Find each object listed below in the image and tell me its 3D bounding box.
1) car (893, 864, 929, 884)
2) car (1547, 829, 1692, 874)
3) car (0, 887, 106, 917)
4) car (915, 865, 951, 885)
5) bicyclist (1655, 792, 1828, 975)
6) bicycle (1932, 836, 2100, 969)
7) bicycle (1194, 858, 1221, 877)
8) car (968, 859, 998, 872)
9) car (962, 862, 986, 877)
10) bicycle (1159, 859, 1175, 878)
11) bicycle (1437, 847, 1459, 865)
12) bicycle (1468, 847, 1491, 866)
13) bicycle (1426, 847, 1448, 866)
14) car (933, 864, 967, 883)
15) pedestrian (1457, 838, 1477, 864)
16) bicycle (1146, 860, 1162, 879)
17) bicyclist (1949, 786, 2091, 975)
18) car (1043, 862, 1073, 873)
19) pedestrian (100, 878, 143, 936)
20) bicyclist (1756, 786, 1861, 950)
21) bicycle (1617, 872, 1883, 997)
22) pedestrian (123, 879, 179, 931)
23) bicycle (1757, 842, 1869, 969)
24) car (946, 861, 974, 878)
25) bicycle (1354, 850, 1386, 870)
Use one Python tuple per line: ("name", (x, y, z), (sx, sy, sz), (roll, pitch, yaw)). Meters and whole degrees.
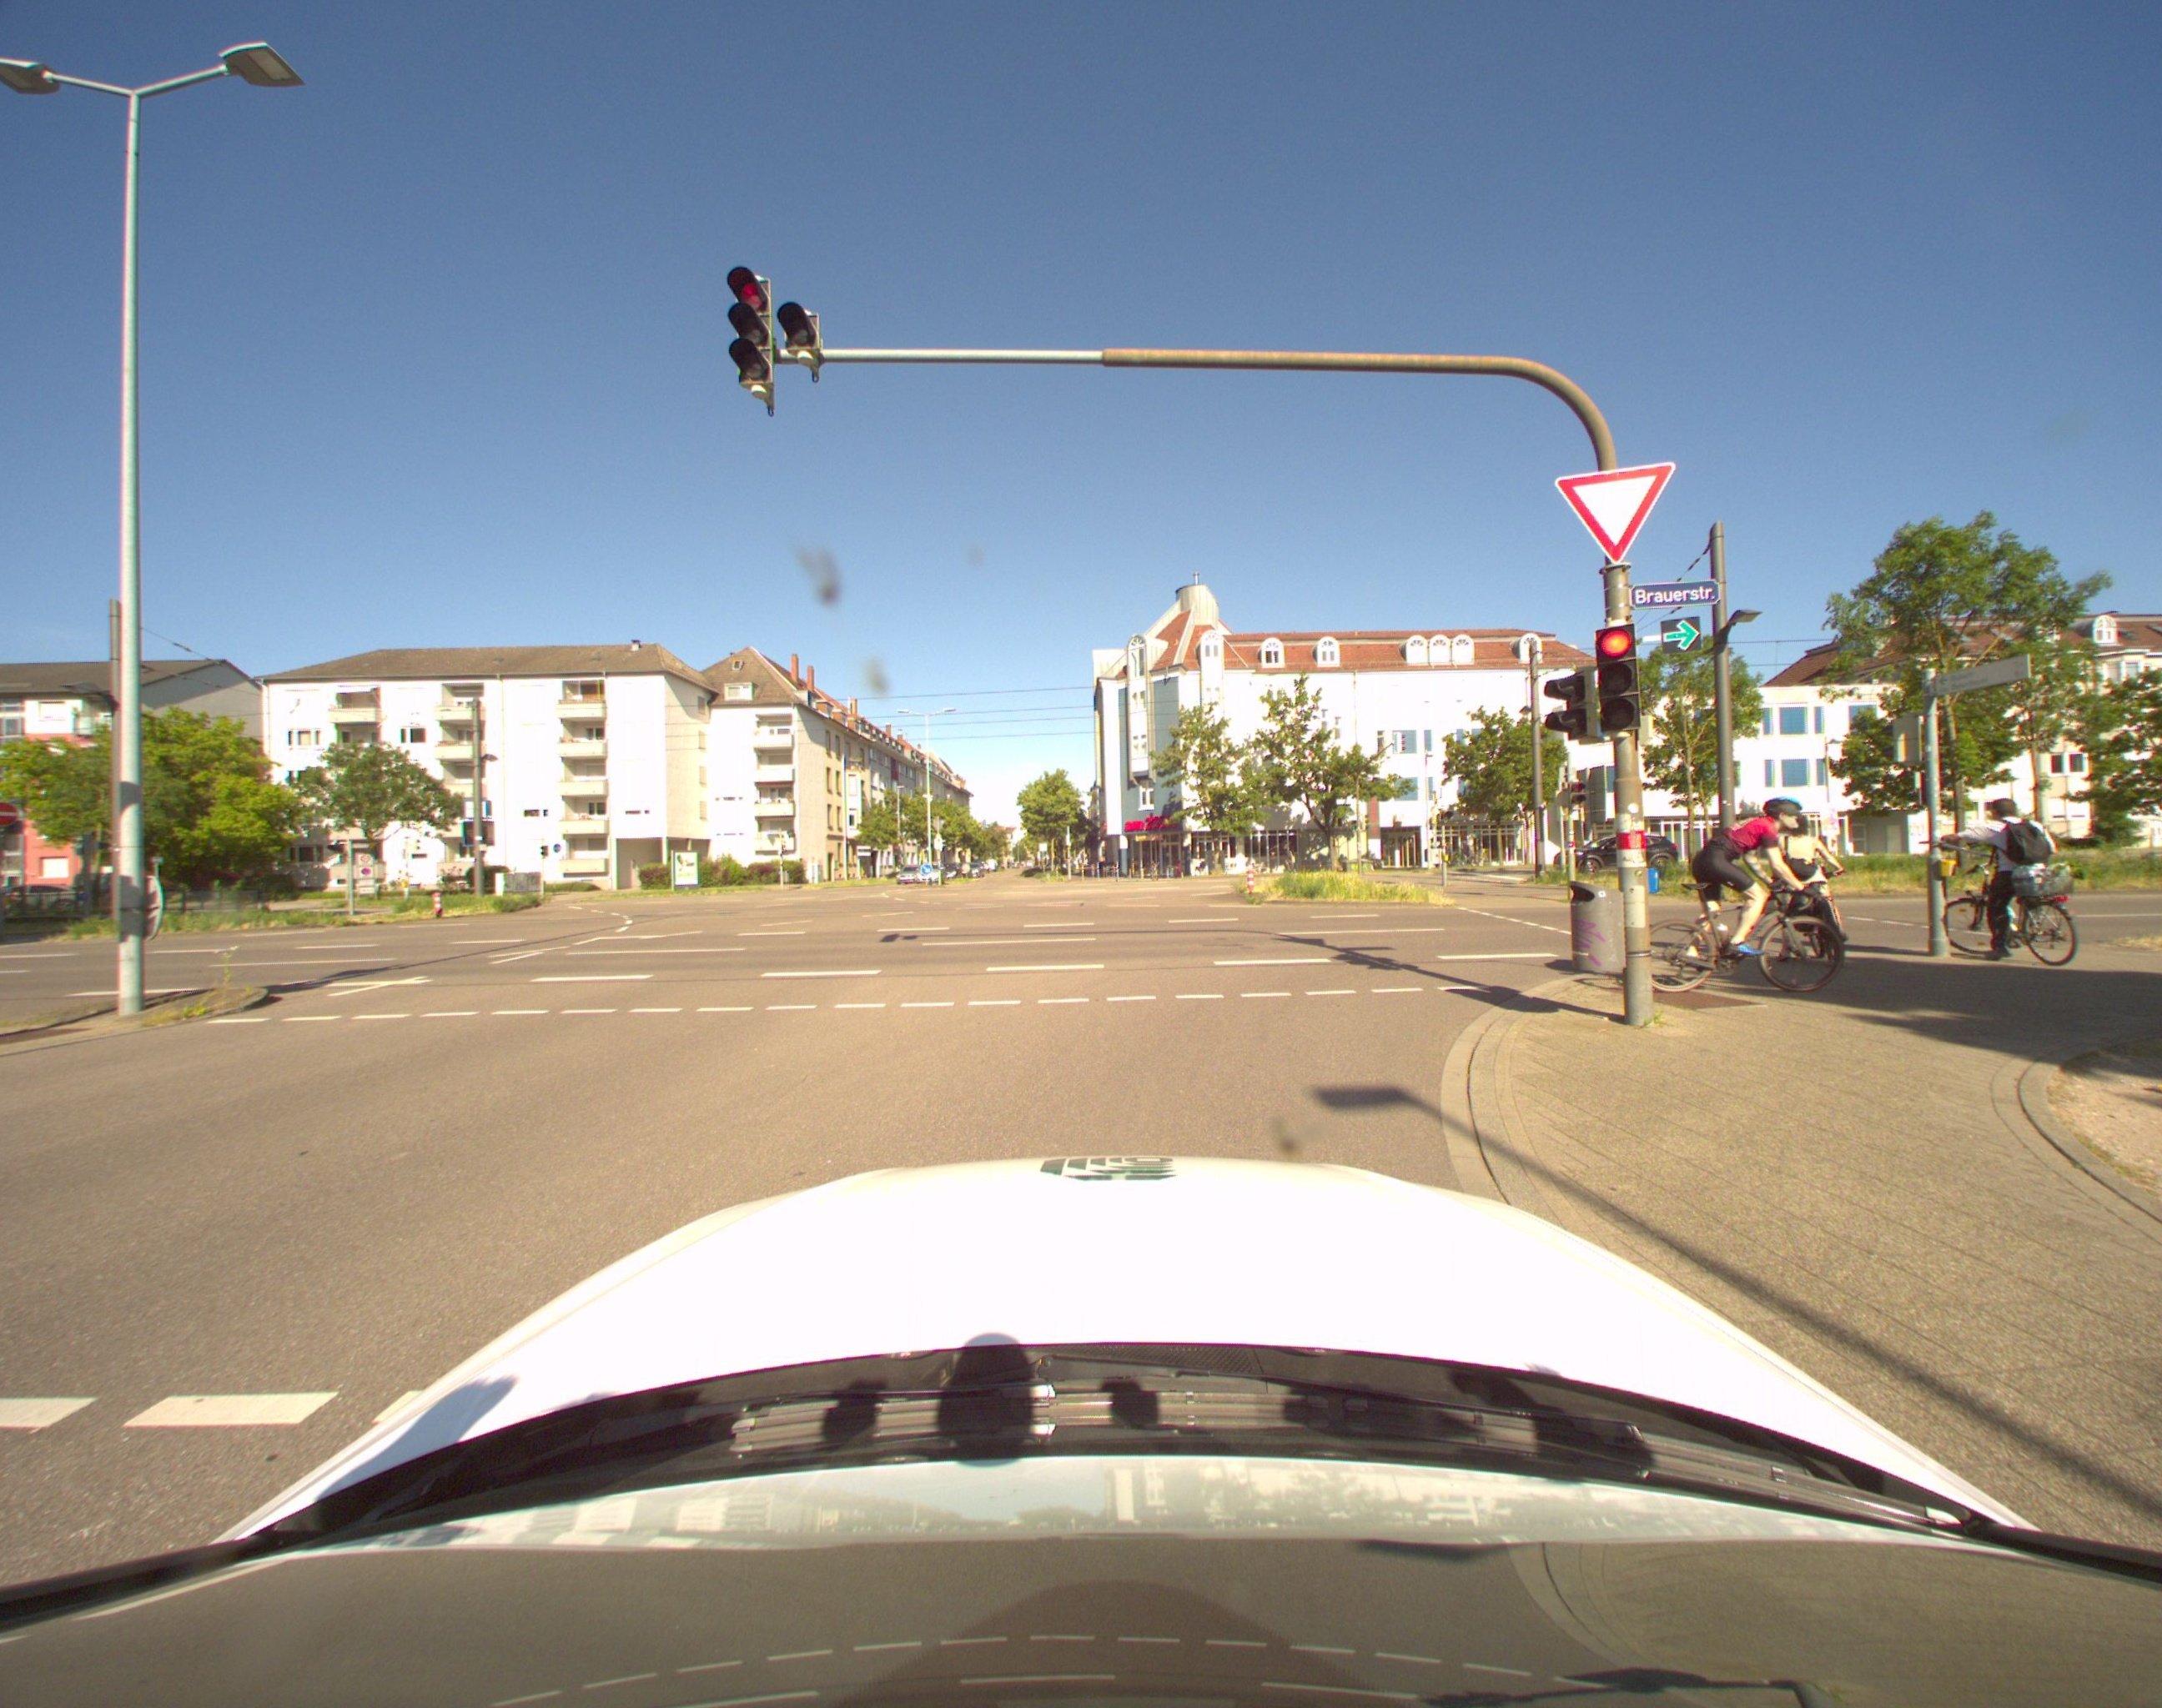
("car", (-13.168, 1.533, 63.159), (1.681, 1.432, 4.402), (1, -1, 2))
("car", (21.837, -0.077, 33.207), (4.474, 1.609, 2.005), (-2, -1, 9))
("car", (-54.715, 2.495, 42.778), (1.672, 1.432, 4.427), (0, -1, 38))
("car", (-10.899, 1.531, 60.111), (1.681, 1.432, 4.402), (1, -1, 2))
("bicyclist", (6.091, 0.269, 7.564), (0.996, 1.586, 0.675), (-2, -1, 8))
("bicycle", (10.652, 0.484, 9.382), (0.782, 1.348, 2.277), (-3, -1, 37))
("bicycle", (7.422, 0.804, 47.809), (1.502, 1.027, 0.474), (-2, -1, 10))
("car", (-15.564, 1.802, 129.444), (4.495, 2.014, 1.998), (-1, -2, -3))
("car", (-10.689, 1.571, 81.503), (1.682, 1.432, 4.399), (1, -1, 1))
("bicycle", (4.854, 0.818, 46.045), (0.472, 1.027, 1.510), (-2, -1, -12))
("bicycle", (24.179, 0.140, 53.644), (0.559, 1.182, 1.868), (-2, 0, -1))
("bicycle", (26.048, 0.144, 53.246), (0.558, 1.182, 1.870), (-2, 0, 1))
("bicycle", (23.282, 0.168, 53.325), (0.559, 1.182, 1.868), (-2, 0, -1))
("car", (-10.671, 1.559, 66.595), (1.680, 1.432, 4.404), (1, -1, 4))
("pedestrian", (25.921, -0.187, 54.692), (0.987, 1.723, 0.654), (-2, -1, -2))
("bicycle", (4.082, 0.841, 45.518), (0.472, 1.027, 1.510), (-2, -1, -11))
("bicyclist", (10.422, 0.277, 9.092), (0.782, 1.959, 1.017), (-3, -1, 37))
("car", (-2.842, 1.611, 98.671), (3.562, 1.223, 1.727), (-1, -2, -5))
("pedestrian", (-29.994, 1.635, 25.474), (1.139, 1.726, 0.818), (-2, -1, 41))
("bicyclist", (8.672, 0.160, 9.758), (0.782, 1.824, 1.143), (-3, -1, 37))
("bicycle", (6.130, 0.728, 7.555), (1.795, 1.055, 0.675), (-2, -1, 8))
("pedestrian", (-28.861, 1.567, 25.274), (0.723, 1.533, 0.856), (-2, -1, -5))
("bicycle", (8.665, 0.550, 9.724), (0.782, 1.348, 2.092), (-3, -1, 37))
("car", (-10.763, 1.338, 72.607), (1.681, 1.432, 4.402), (1, -1, 2))
("bicycle", (18.480, 0.384, 52.105), (1.860, 1.182, 0.561), (-2, -1, -5))
